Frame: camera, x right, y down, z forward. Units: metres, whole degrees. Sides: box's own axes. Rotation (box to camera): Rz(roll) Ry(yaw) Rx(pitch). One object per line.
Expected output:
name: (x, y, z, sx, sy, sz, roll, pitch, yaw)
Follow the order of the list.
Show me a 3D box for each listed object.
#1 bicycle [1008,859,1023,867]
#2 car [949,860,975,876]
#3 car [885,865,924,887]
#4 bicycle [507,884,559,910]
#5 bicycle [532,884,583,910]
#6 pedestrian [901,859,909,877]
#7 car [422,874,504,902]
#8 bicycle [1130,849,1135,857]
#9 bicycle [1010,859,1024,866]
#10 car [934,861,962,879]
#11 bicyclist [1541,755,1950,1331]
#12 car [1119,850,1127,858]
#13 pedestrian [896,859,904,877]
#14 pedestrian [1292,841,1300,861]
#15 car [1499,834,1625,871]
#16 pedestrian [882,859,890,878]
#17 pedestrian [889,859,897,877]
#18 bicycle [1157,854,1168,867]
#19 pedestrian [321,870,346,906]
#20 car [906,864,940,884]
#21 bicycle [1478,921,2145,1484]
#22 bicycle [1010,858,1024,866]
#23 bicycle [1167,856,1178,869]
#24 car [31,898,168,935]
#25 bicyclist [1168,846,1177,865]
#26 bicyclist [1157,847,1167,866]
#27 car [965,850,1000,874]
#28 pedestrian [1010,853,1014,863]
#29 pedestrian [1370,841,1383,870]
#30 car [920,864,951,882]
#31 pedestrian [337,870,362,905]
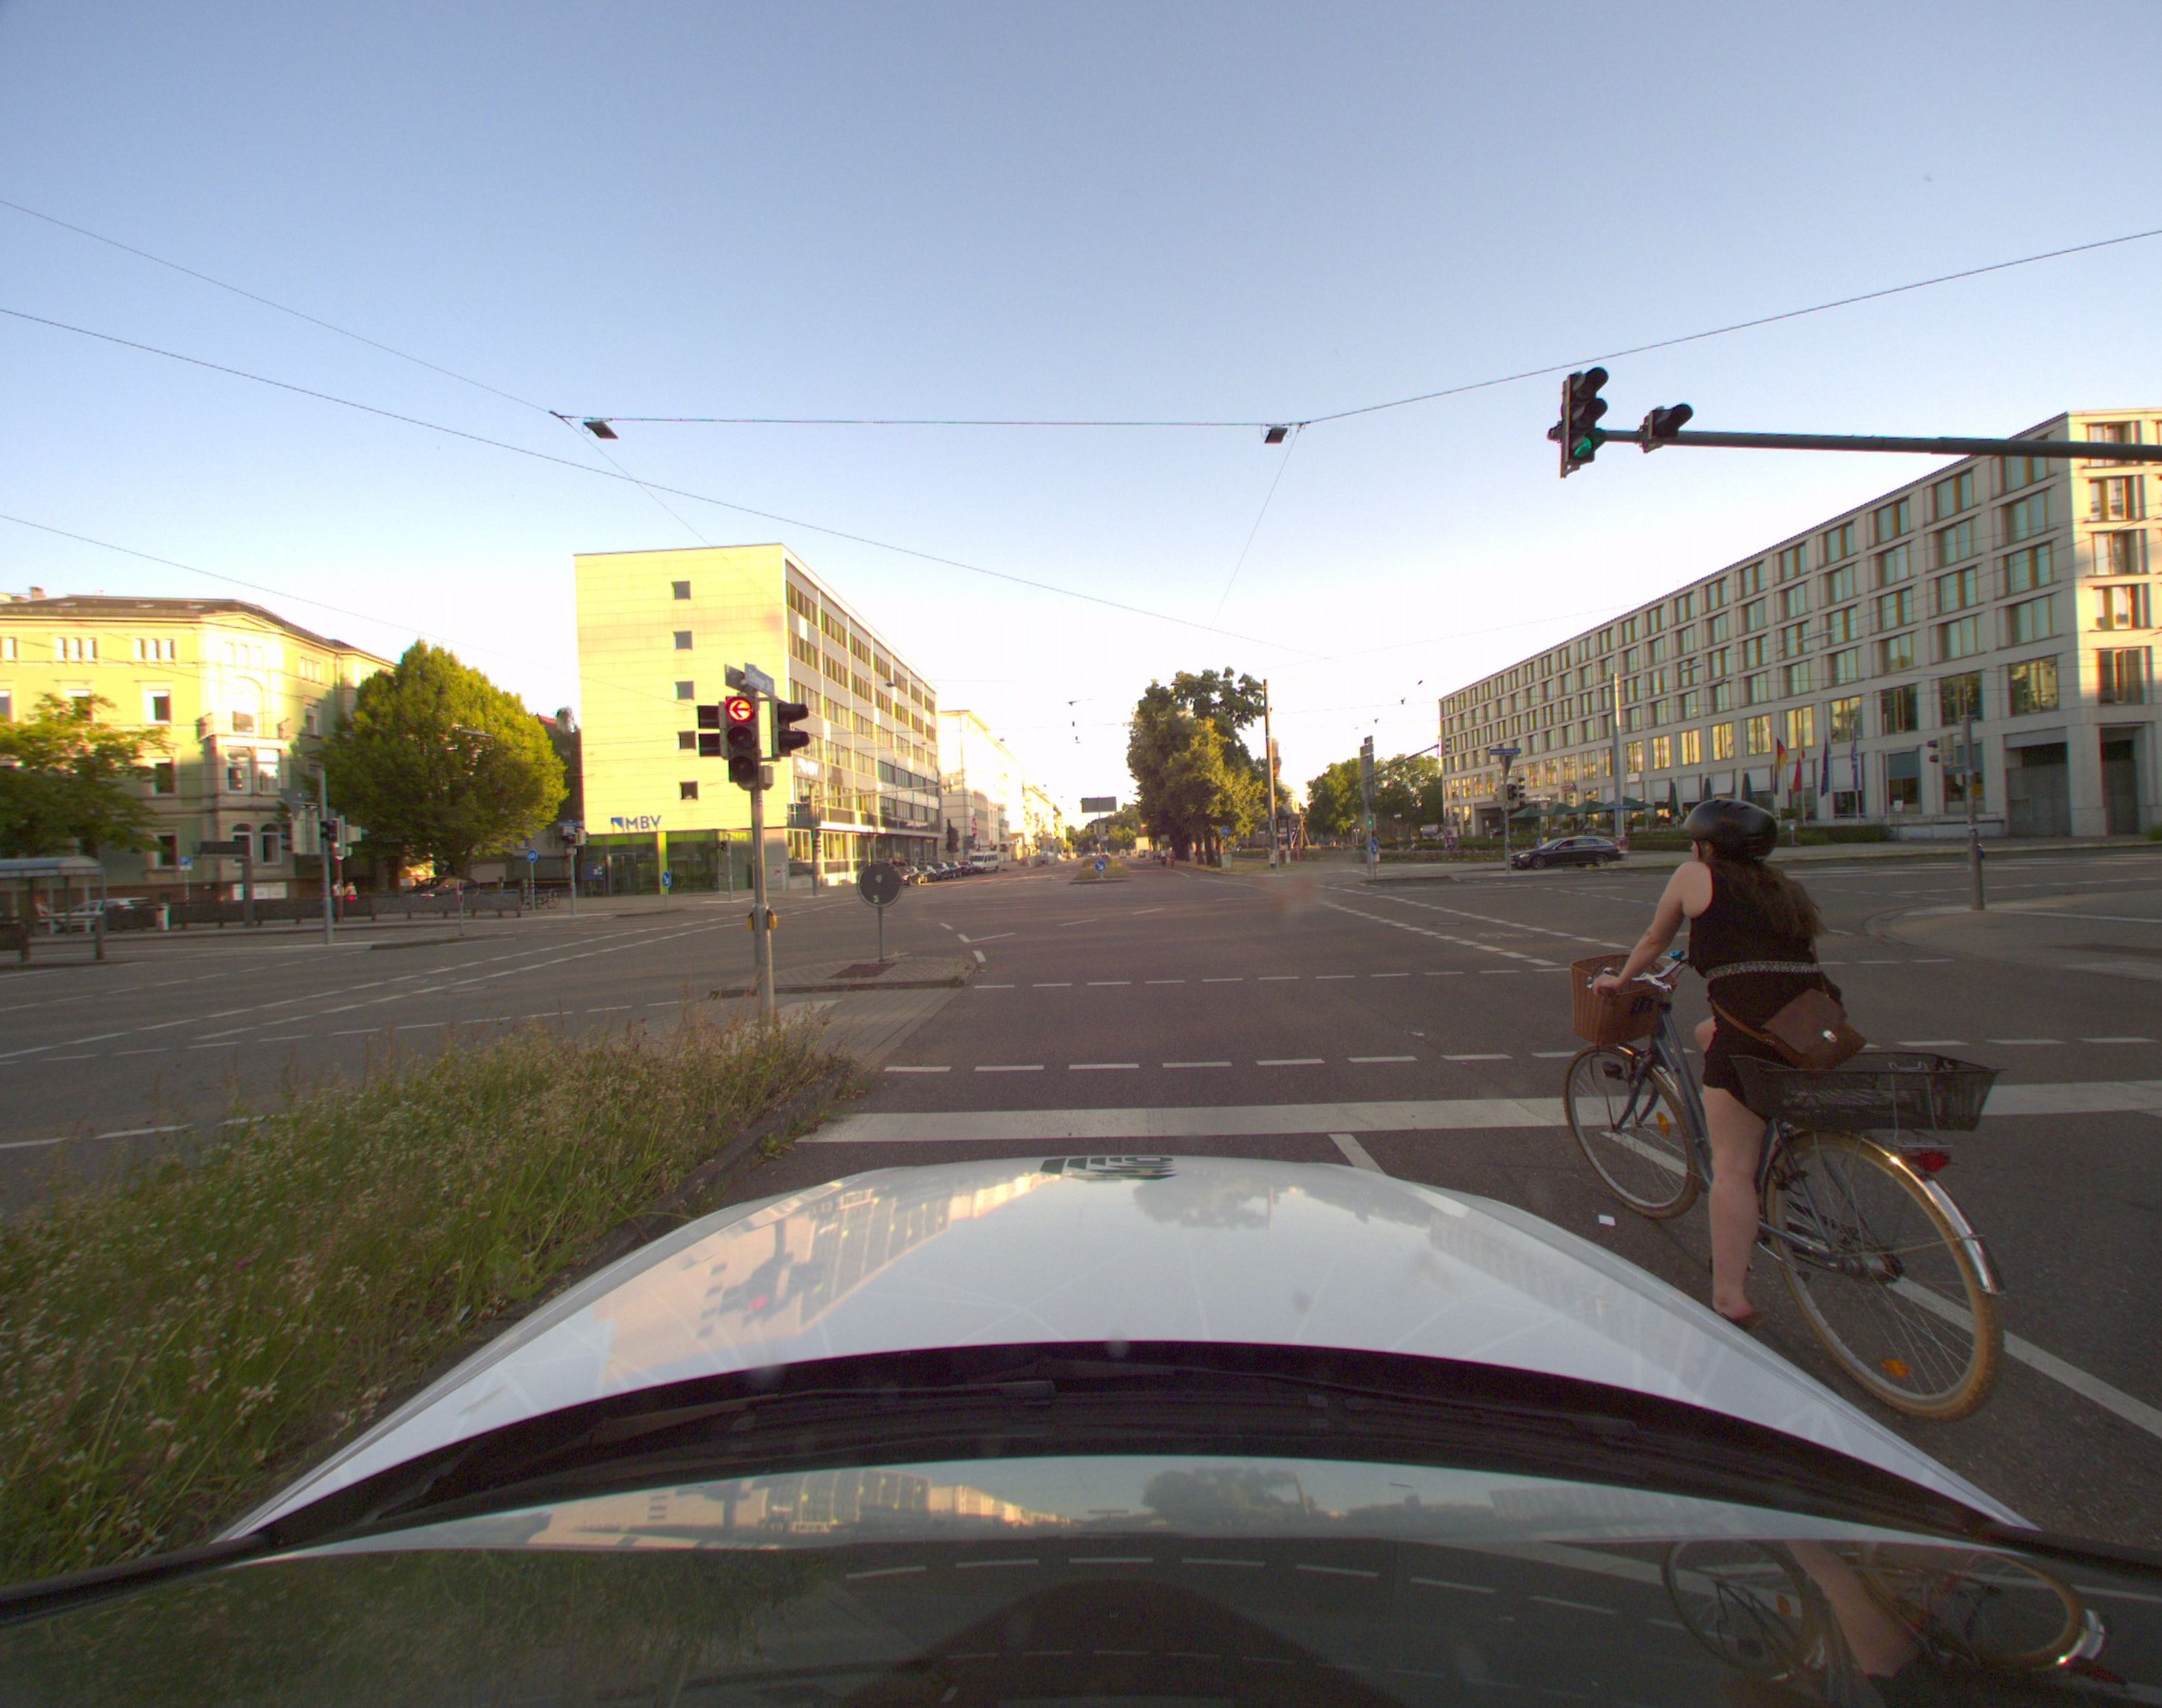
bicycle: (-10.094, 1.323, 125.952, 2.198, 1.112, 0.619, -3, 0, 0)
car: (-12.390, 1.447, 85.244, 1.913, 1.568, 4.002, -3, 0, 2)
car: (-13.512, 1.661, 62.410, 1.913, 1.464, 4.105, -3, 0, 2)
bicycle: (-26.836, 2.107, 39.939, 0.832, 1.112, 2.216, -3, 0, 6)
bicycle: (-25.567, 2.095, 39.804, 0.832, 1.112, 2.216, -3, 0, 6)
pedestrian: (-16.524, 1.337, 76.353, 0.549, 1.679, 0.500, -3, 0, 1)
car: (-34.998, 1.913, 46.238, 1.830, 1.372, 3.594, -3, 0, 0)
bicycle: (13.110, -0.288, 208.130, 0.997, 2.013, 4.007, -3, 0, 6)
bicycle: (-10.011, 1.338, 127.455, 2.198, 1.112, 0.689, -3, 0, 0)
car: (-12.857, 1.575, 79.021, 1.913, 1.568, 4.002, -3, 0, 2)
bicyclist: (2.176, 0.540, 2.823, 0.597, 1.636, 0.999, -1, 0, 2)
car: (8.266, -0.010, 160.126, 1.403, 1.641, 4.000, -3, 0, 1)
pedestrian: (-17.076, 1.357, 76.917, 0.498, 1.679, 0.500, -3, 0, 1)
pedestrian: (17.709, -0.243, 67.031, 0.458, 1.656, 0.567, -3, 0, 1)
car: (23.078, -0.086, 39.220, 4.803, 1.515, 2.002, -3, 0, 4)
pedestrian: (-18.293, 1.342, 76.271, 0.549, 1.679, 0.500, -3, 0, 1)
pedestrian: (-17.665, 1.341, 76.665, 0.549, 1.679, 0.500, -3, 0, 1)
bicycle: (7.510, 0.615, 75.091, 0.744, 1.144, 2.506, -3, 0, 2)
pedestrian: (-38.798, 1.749, 42.283, 0.641, 1.790, 0.720, -3, 0, -12)
car: (-13.317, 1.648, 68.907, 1.913, 1.464, 4.002, -3, 0, 2)
bicycle: (2.180, 0.893, 2.892, 0.609, 1.132, 2.005, -1, 0, 2)
bicycle: (-10.137, 1.285, 129.329, 2.198, 1.236, 0.839, -3, 0, 0)
bicycle: (8.454, 0.736, 75.103, 0.744, 1.144, 2.506, -3, 0, 2)
car: (-45.269, 2.849, 37.658, 3.588, 1.372, 1.833, -3, 0, -15)
bicyclist: (8.418, 0.149, 74.912, 0.744, 1.691, 0.799, -3, 0, 1)
bicyclist: (7.461, 0.235, 74.895, 0.744, 1.663, 0.873, -3, 0, 1)
car: (-11.063, 0.868, 91.679, 1.988, 2.478, 5.888, -3, 0, 12)
pedestrian: (-13.934, 0.793, 165.296, 0.677, 2.013, 0.545, -3, 0, 1)
pedestrian: (15.734, 0.073, 43.371, 0.489, 1.540, 0.408, -3, 0, 1)
car: (-13.109, 1.685, 73.720, 1.913, 1.464, 4.002, -3, 0, 2)
pedestrian: (-38.655, 1.775, 43.055, 0.641, 1.790, 0.720, -3, 0, -12)
